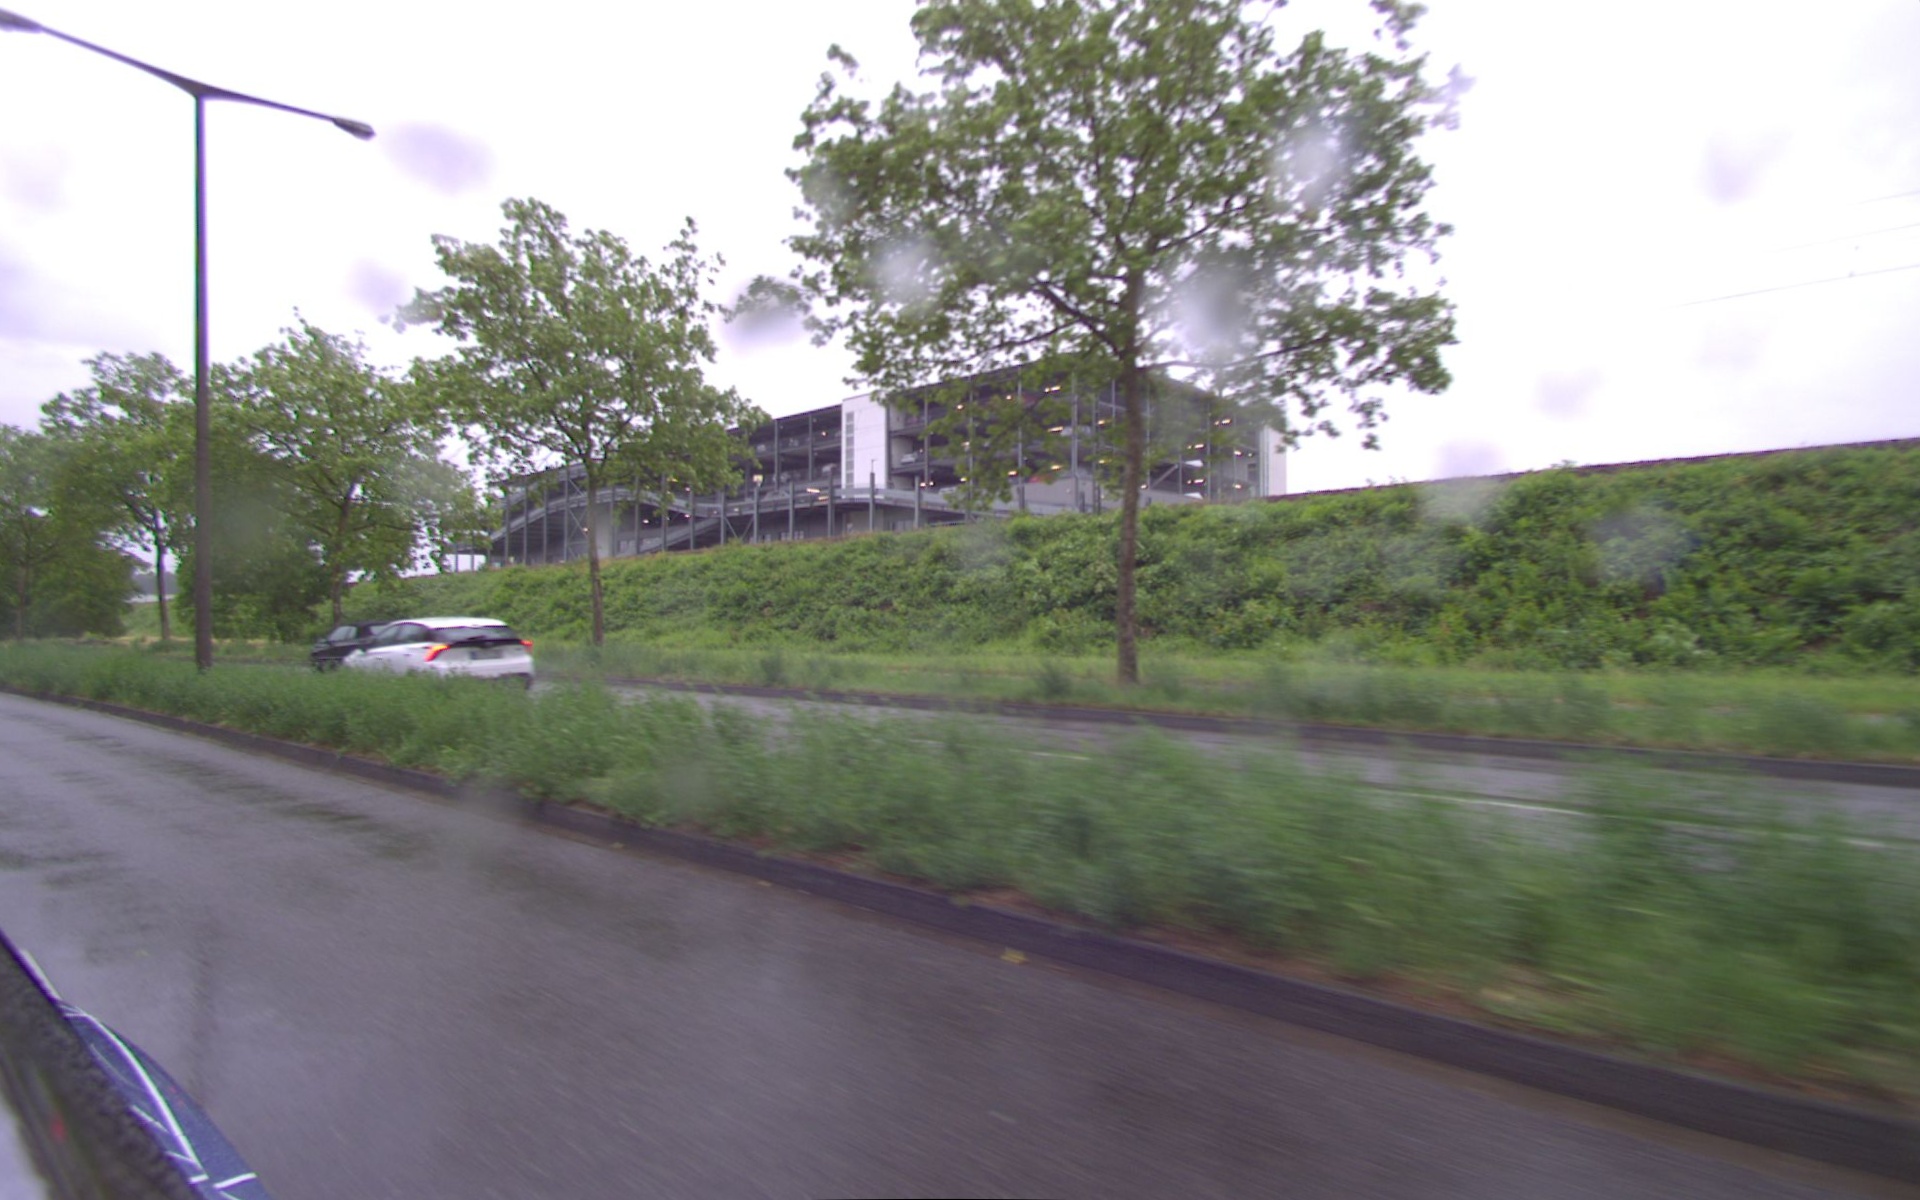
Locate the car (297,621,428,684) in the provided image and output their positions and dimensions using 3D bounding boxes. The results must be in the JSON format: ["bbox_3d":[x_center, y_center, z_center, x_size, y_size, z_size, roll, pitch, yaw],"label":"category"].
[{"bbox_3d":[-15.080,1.291,25.455,3.997,1.437,1.615,-2,-1,40],"label":"car"}]

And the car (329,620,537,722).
[{"bbox_3d":[-9.086,1.132,17.302,4.201,1.506,1.685,-2,-1,40],"label":"car"}]
